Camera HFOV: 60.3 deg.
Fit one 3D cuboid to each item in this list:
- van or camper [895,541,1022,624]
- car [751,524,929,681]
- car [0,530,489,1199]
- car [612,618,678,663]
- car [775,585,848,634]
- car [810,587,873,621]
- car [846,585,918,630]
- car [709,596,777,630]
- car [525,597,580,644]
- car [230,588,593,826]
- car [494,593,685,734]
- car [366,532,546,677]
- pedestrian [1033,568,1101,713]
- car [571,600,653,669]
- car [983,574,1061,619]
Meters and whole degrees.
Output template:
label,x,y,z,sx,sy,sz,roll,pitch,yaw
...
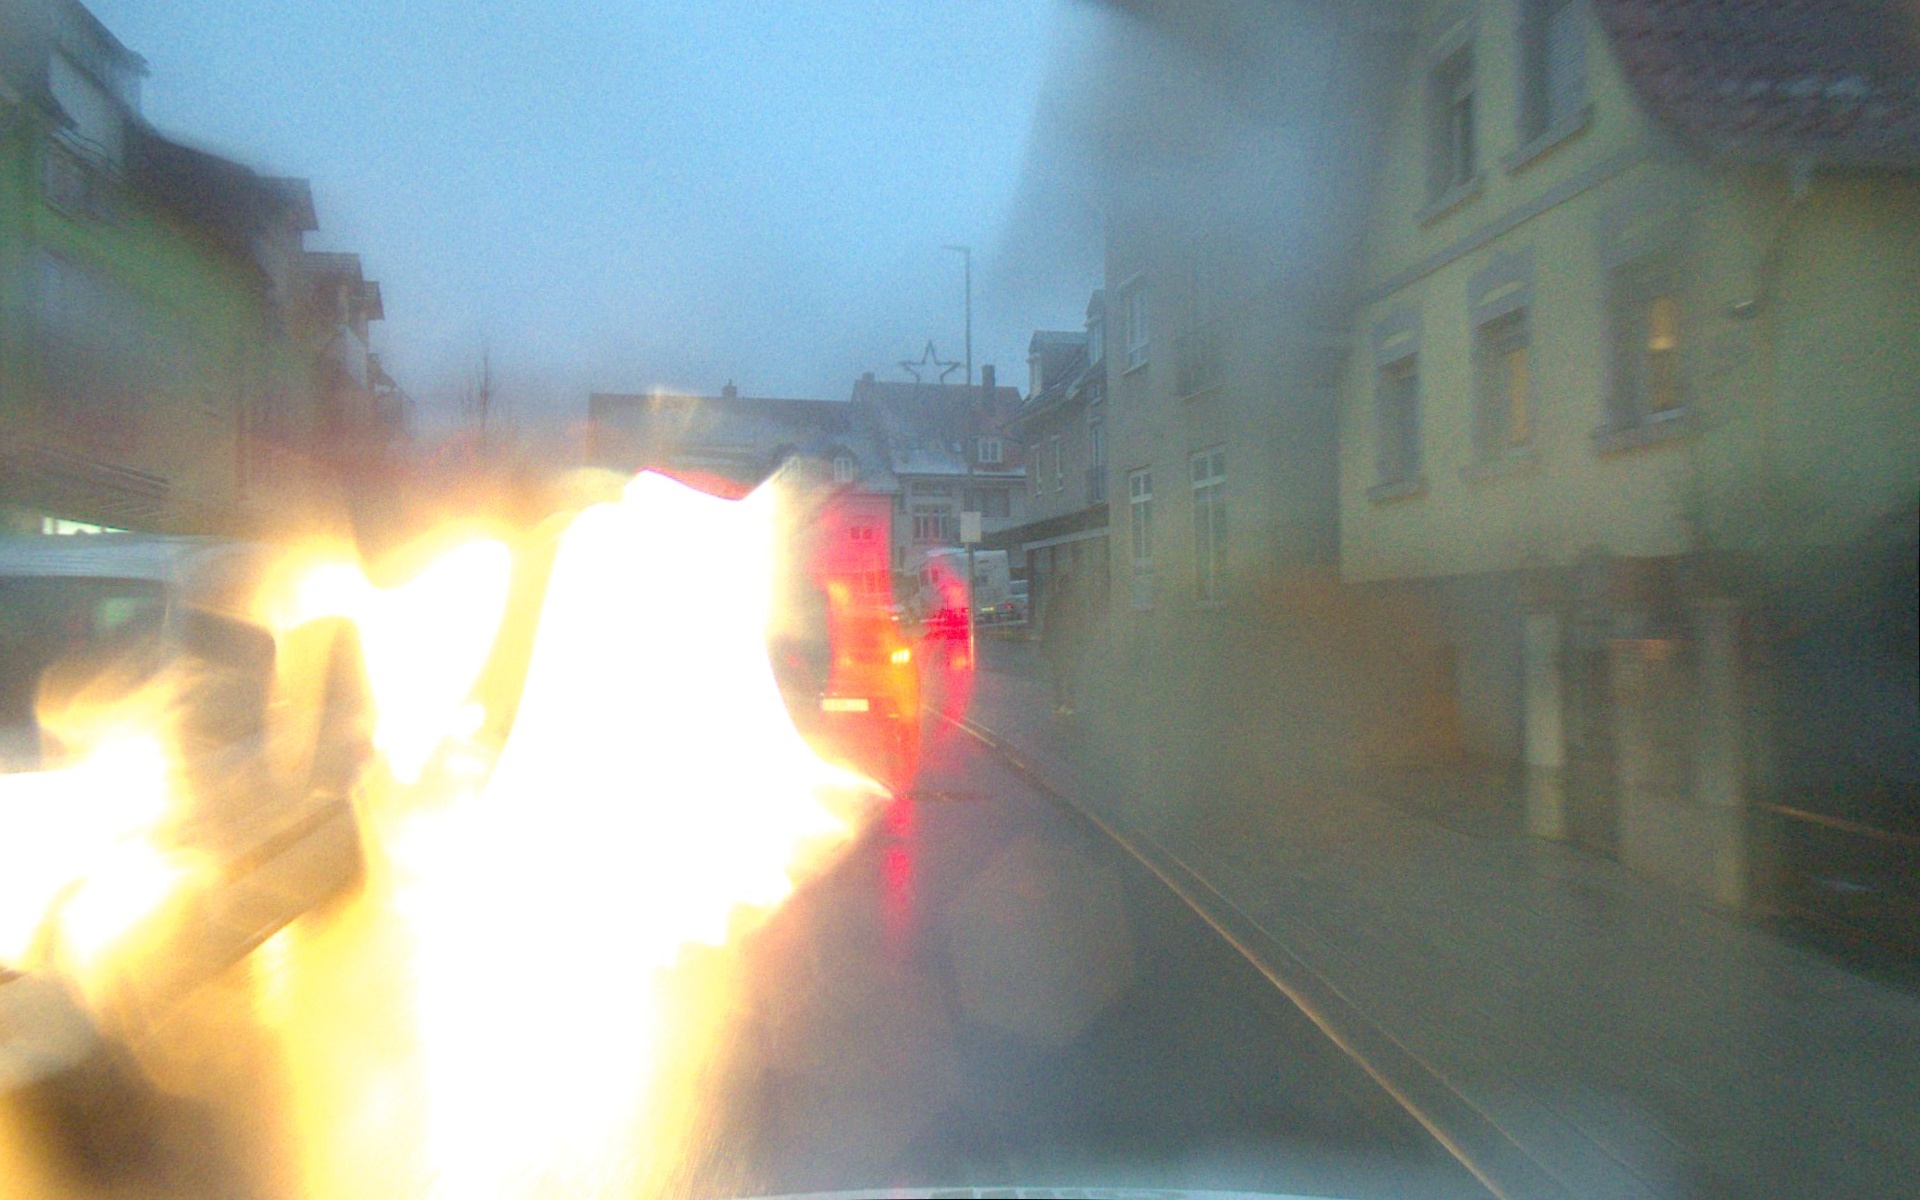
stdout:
label,x,y,z,sx,sy,sz,roll,pitch,yaw
van or camper,-0.155,-0.686,67.459,2.617,3.100,6.684,-4,1,-24
car,-1.417,0.039,18.743,1.779,1.560,3.995,1,0,-6
car,-3.268,0.569,6.038,1.912,1.573,4.415,-2,3,-2
car,-11.919,1.513,62.399,1.962,1.616,3.980,1,0,-18
car,-5.965,0.359,66.122,1.963,1.796,4.328,-2,1,-18
car,-5.644,0.152,78.278,1.796,1.487,4.521,-2,1,-20
car,-3.174,0.312,66.576,1.961,1.639,4.156,-2,-1,-16
car,-9.842,0.562,74.792,1.866,1.488,3.599,0,0,-29
car,-19.972,1.003,81.030,1.967,2.241,3.970,1,0,-24
car,-4.171,0.712,13.302,1.821,1.583,4.253,0,0,-5
car,-4.674,0.727,21.420,1.955,1.583,4.251,-1,1,-7
car,-10.042,0.137,33.588,2.439,2.605,6.748,1,-1,-8
pedestrian,1.334,0.486,20.699,0.730,1.759,0.872,0,1,-5
car,-8.834,0.849,41.832,1.885,1.592,4.212,-2,0,-13
car,2.490,-0.135,67.319,1.762,1.580,3.978,-6,2,-19
